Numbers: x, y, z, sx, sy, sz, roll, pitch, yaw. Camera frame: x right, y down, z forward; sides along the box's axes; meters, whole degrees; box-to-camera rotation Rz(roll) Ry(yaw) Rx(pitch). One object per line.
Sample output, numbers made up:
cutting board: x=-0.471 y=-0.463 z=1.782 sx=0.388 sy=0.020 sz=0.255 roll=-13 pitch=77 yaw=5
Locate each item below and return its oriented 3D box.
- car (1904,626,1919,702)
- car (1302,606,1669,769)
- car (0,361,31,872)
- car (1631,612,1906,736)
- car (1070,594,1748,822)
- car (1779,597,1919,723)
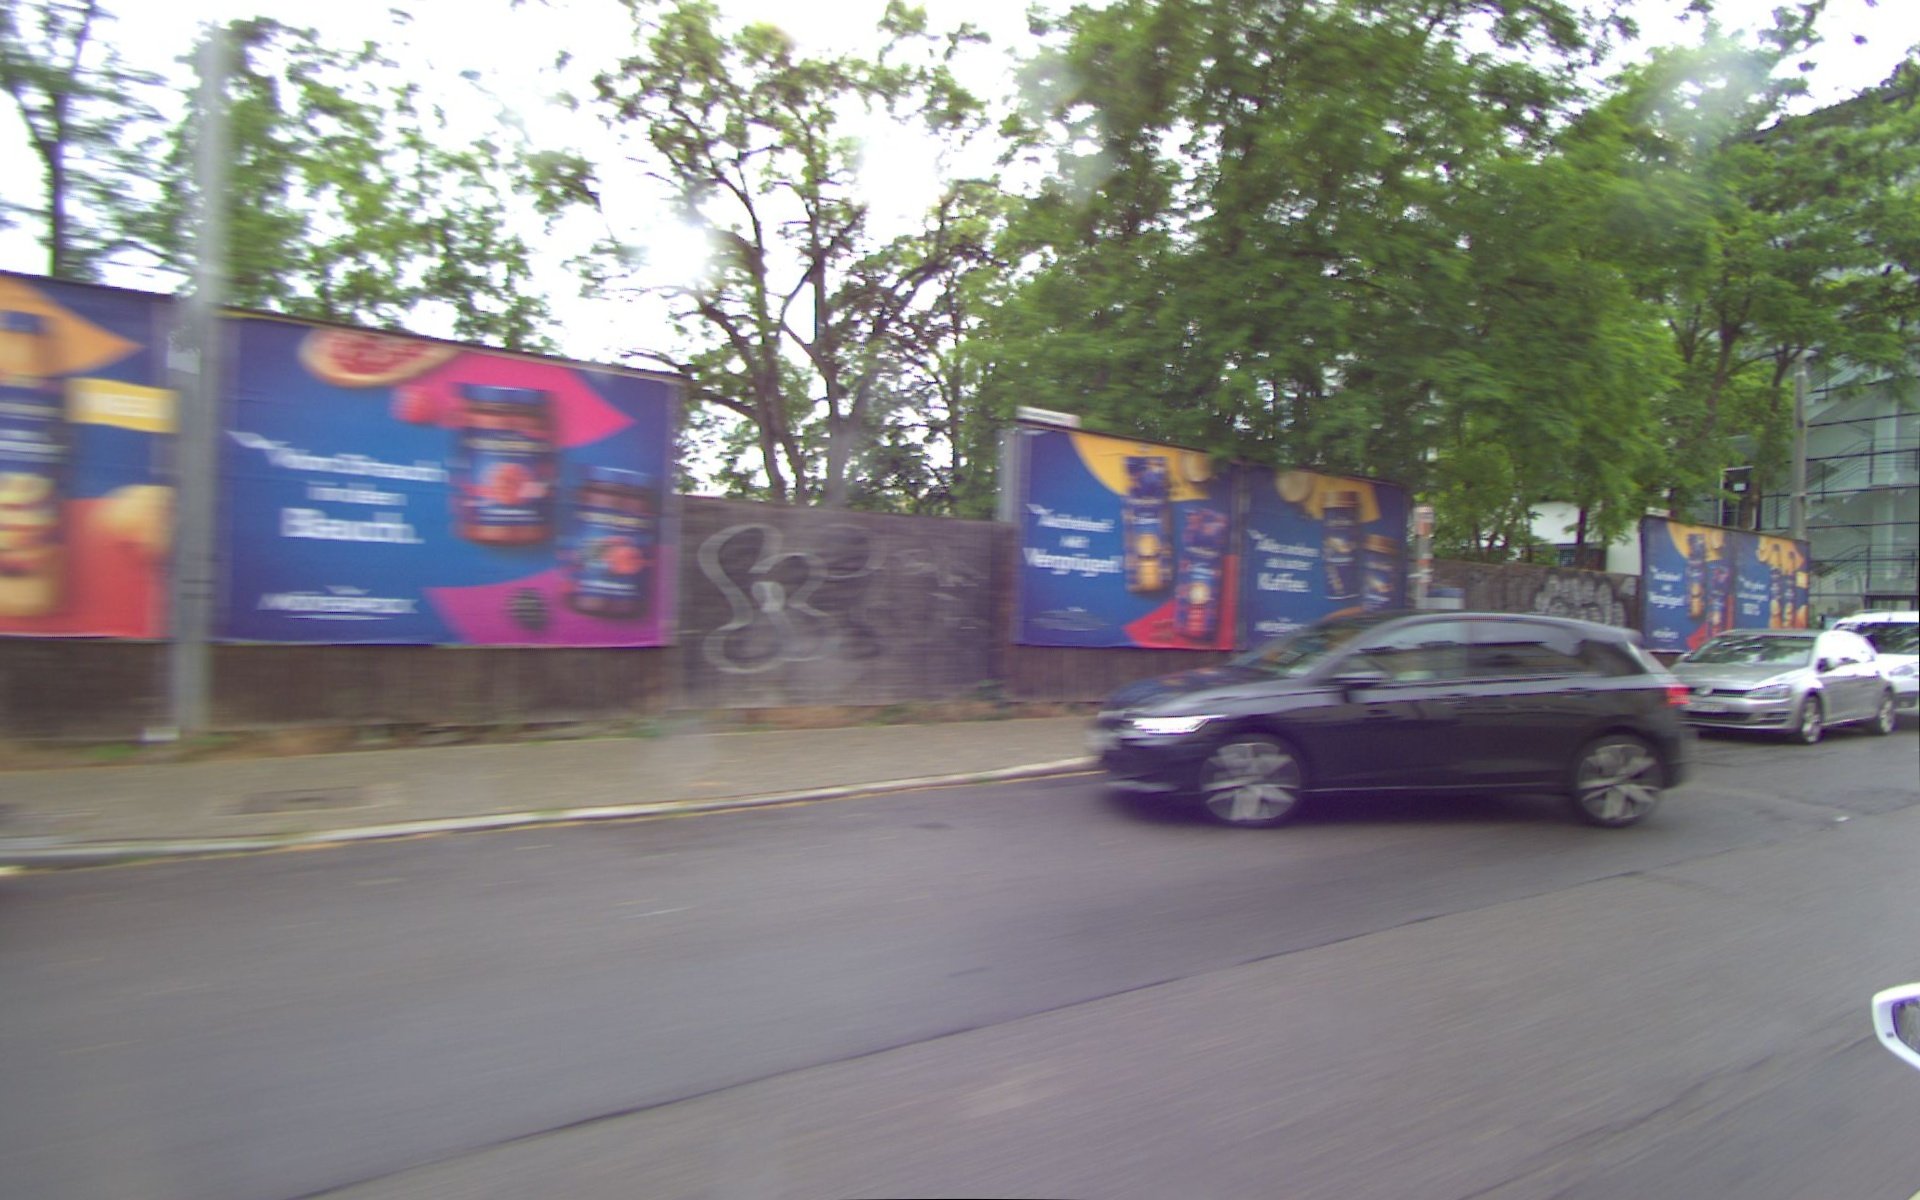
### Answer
car: x=19.746 y=1.237 z=19.071 sx=4.298 sy=1.394 sz=1.713 roll=2 pitch=-2 yaw=-33
car: x=5.555 y=0.842 z=10.507 sx=3.867 sy=1.417 sz=1.673 roll=2 pitch=-2 yaw=-32
car: x=-6.982 y=0.027 z=2.916 sx=5.912 sy=2.520 sz=2.002 roll=1 pitch=-1 yaw=-30
car: x=11.229 y=0.971 z=13.872 sx=4.229 sy=1.482 sz=1.673 roll=2 pitch=-2 yaw=-32
car: x=3.148 y=0.745 z=7.505 sx=4.302 sy=1.434 sz=1.809 roll=2 pitch=-1 yaw=-7
car: x=15.342 y=0.955 z=16.434 sx=4.295 sy=1.824 sz=1.715 roll=2 pitch=-2 yaw=-32
